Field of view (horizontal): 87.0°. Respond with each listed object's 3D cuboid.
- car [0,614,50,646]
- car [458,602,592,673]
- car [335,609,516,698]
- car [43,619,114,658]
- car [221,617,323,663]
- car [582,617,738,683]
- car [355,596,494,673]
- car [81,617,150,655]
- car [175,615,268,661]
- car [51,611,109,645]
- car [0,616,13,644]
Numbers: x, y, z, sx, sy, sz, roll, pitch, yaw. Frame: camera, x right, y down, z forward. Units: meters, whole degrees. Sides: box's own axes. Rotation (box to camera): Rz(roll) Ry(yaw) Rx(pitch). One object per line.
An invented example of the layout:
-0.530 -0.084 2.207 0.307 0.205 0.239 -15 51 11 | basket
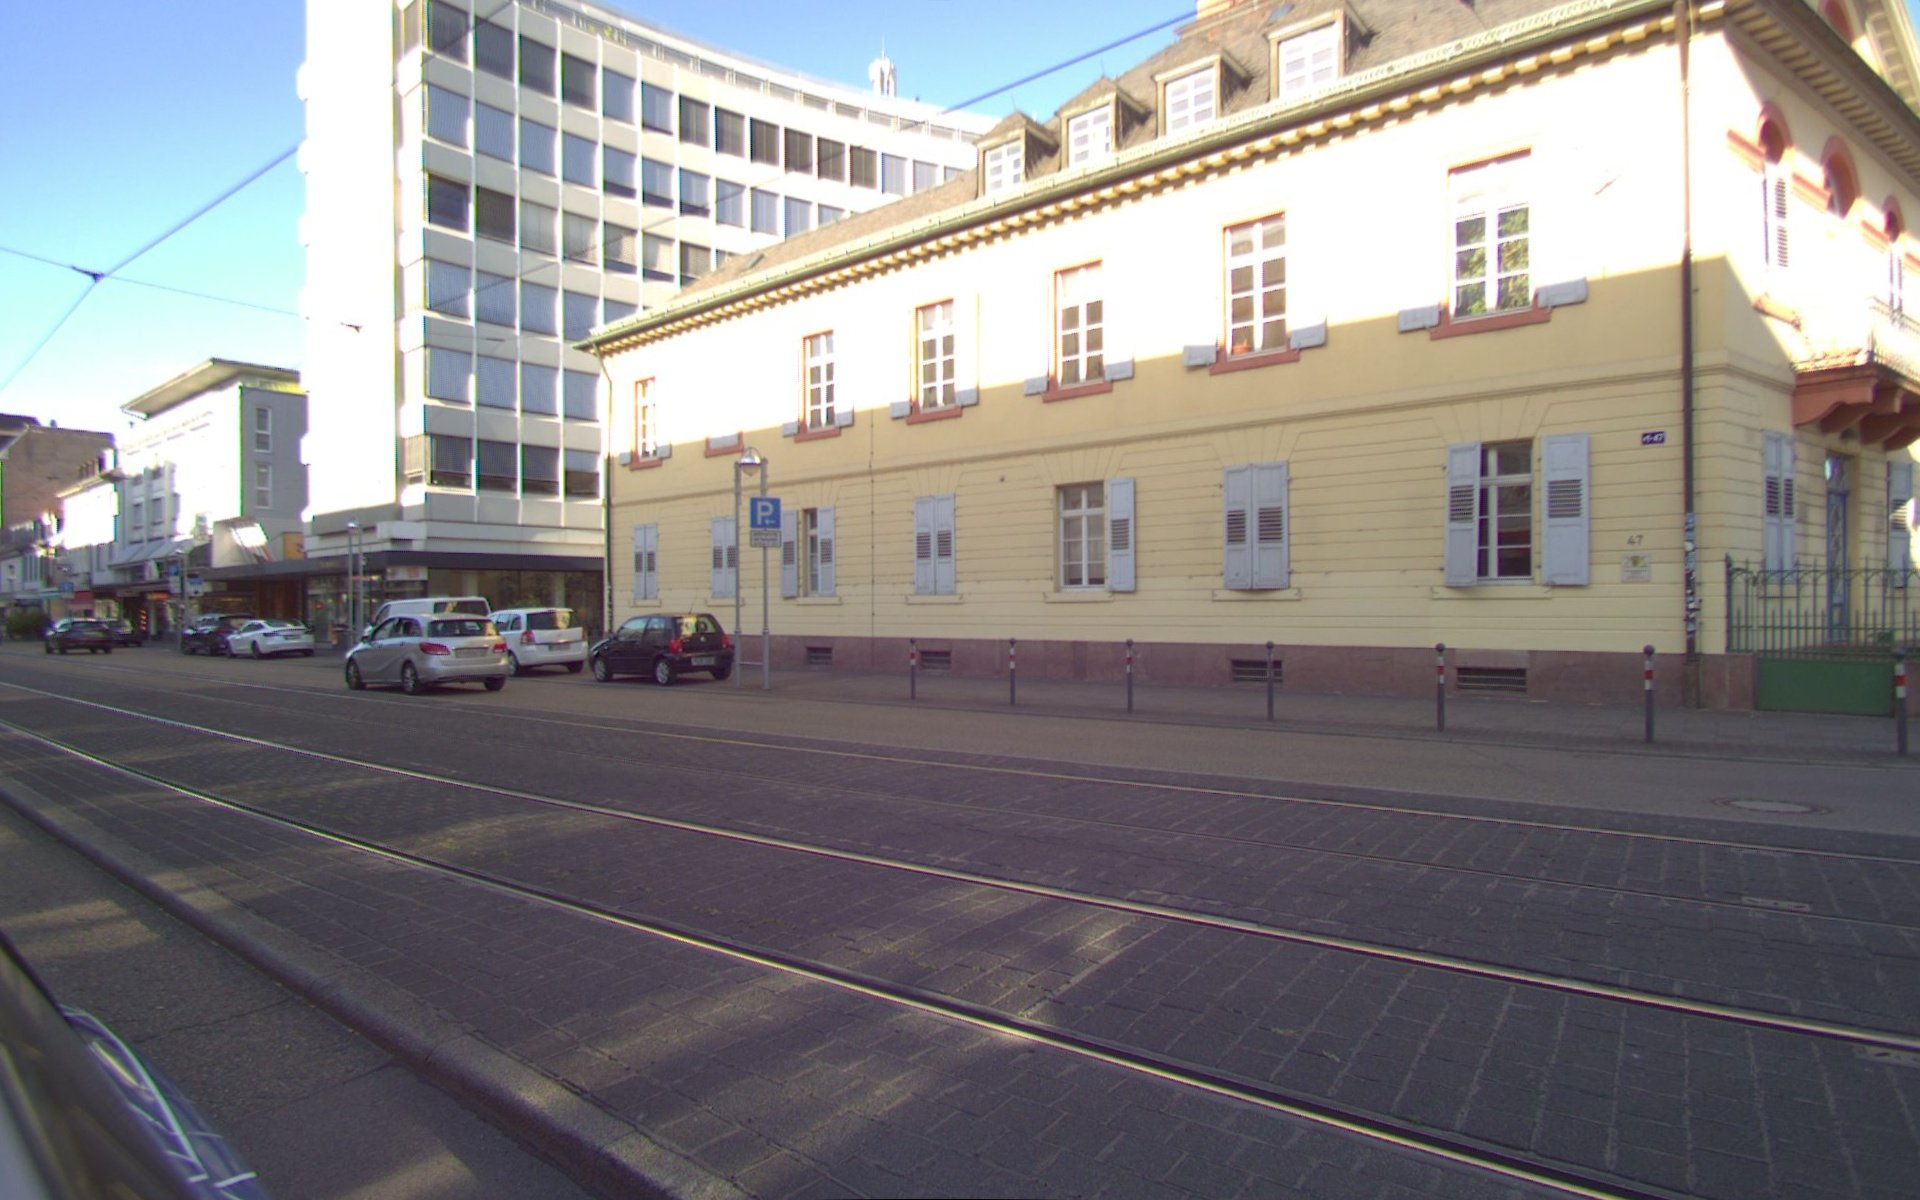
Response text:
-62.943 2.009 67.905 3.996 2.058 2.172 -1 -1 39 | car
-10.978 0.887 25.411 4.005 1.621 1.619 -1 0 43 | car
-10.779 1.011 20.317 3.994 1.609 1.739 -1 -1 38 | car
-37.559 1.611 43.090 4.001 1.519 1.937 -1 0 44 | car
-25.617 1.440 37.647 4.369 1.541 1.974 -1 0 39 | car
-6.410 1.010 21.520 3.210 1.263 1.667 -1 0 39 | car
-15.360 0.966 28.950 4.619 2.029 2.014 -1 -1 41 | car
-43.586 1.819 52.214 3.995 1.874 1.974 -1 0 38 | car
-29.916 1.486 40.965 4.103 1.717 1.975 -1 0 38 | car
-50.357 1.601 57.885 3.995 1.896 1.768 -1 -1 38 | car
-71.434 2.205 74.610 3.998 2.029 1.973 -1 -1 41 | car
